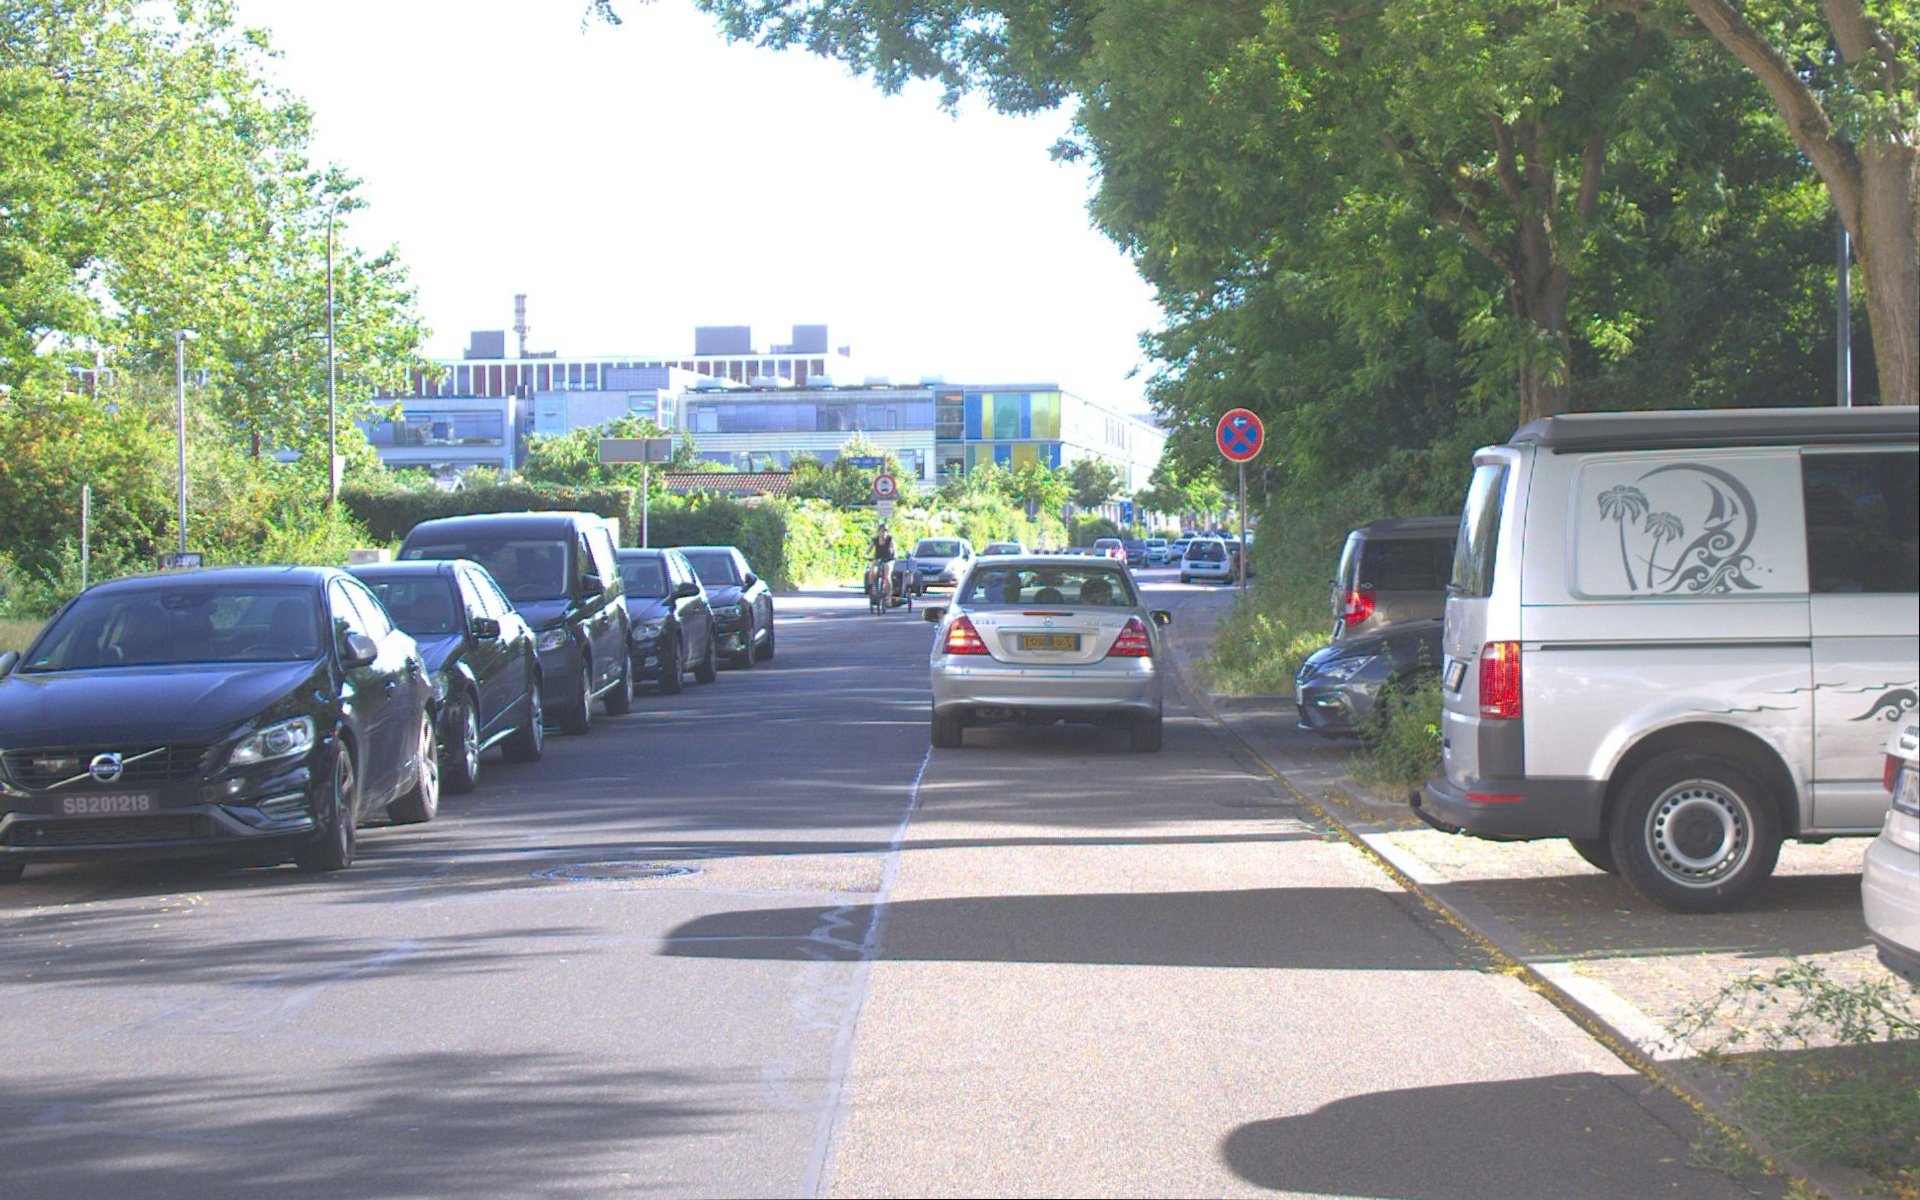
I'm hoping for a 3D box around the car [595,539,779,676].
[{"bbox_3d":[-3.276,0.041,42.073,1.727,1.458,4.682,-2,2,1],"label":"car"}]

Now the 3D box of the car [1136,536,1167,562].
[{"bbox_3d":[11.145,-2.979,199.884,1.560,1.489,3.757,-1,1,7],"label":"car"}]

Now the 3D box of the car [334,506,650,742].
[{"bbox_3d":[-3.867,0.143,29.232,1.840,1.774,4.888,-2,1,1],"label":"car"}]

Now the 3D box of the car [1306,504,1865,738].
[{"bbox_3d":[4.889,0.143,27.320,4.149,1.689,1.775,-2,1,4],"label":"car"}]

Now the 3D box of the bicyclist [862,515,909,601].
[{"bbox_3d":[-1.451,-0.826,67.125,0.845,1.652,1.064,-1,1,3],"label":"bicyclist"}]

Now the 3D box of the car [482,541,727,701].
[{"bbox_3d":[-3.625,0.174,35.730,1.840,1.449,4.018,-2,1,4],"label":"car"}]

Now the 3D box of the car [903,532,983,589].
[{"bbox_3d":[-0.475,-1.174,100.691,1.644,1.594,4.310,1,1,9],"label":"car"}]

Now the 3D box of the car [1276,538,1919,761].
[{"bbox_3d":[4.583,0.330,24.673,4.451,1.409,1.775,-2,1,1],"label":"car"}]

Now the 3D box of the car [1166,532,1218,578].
[{"bbox_3d":[7.964,-1.551,117.810,1.556,1.533,3.555,2,1,7],"label":"car"}]

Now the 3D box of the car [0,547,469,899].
[{"bbox_3d":[-3.758,0.508,17.423,1.840,1.476,4.801,-2,1,0],"label":"car"}]

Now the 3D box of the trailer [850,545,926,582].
[{"bbox_3d":[-1.890,-0.967,90.677,1.545,0.950,2.646,1,1,9],"label":"trailer"}]

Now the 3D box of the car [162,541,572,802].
[{"bbox_3d":[-3.860,0.395,23.159,1.840,1.476,4.575,-4,1,1],"label":"car"}]

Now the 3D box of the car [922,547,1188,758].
[{"bbox_3d":[0.641,0.338,26.022,1.737,1.448,4.001,0,1,-2],"label":"car"}]

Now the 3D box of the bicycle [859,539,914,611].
[{"bbox_3d":[-1.428,-0.501,67.518,0.851,1.366,3.220,-1,1,3],"label":"bicycle"}]

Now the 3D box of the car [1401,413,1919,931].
[{"bbox_3d":[4.239,0.224,14.669,4.451,2.009,2.021,-2,1,2],"label":"car"}]

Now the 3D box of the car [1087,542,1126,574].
[{"bbox_3d":[7.043,-2.025,165.021,1.560,1.489,3.569,-1,1,7],"label":"car"}]

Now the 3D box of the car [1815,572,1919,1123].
[{"bbox_3d":[4.519,0.605,9.557,3.908,1.430,1.636,-2,1,5],"label":"car"}]

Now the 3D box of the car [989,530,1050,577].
[{"bbox_3d":[2.060,-1.605,118.411,1.644,1.551,4.416,-1,1,7],"label":"car"}]

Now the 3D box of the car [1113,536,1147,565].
[{"bbox_3d":[9.063,-2.631,182.974,1.560,1.489,3.569,2,1,7],"label":"car"}]

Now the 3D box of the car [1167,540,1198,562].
[{"bbox_3d":[14.821,-3.271,229.030,1.855,1.423,4.133,1,1,7],"label":"car"}]
